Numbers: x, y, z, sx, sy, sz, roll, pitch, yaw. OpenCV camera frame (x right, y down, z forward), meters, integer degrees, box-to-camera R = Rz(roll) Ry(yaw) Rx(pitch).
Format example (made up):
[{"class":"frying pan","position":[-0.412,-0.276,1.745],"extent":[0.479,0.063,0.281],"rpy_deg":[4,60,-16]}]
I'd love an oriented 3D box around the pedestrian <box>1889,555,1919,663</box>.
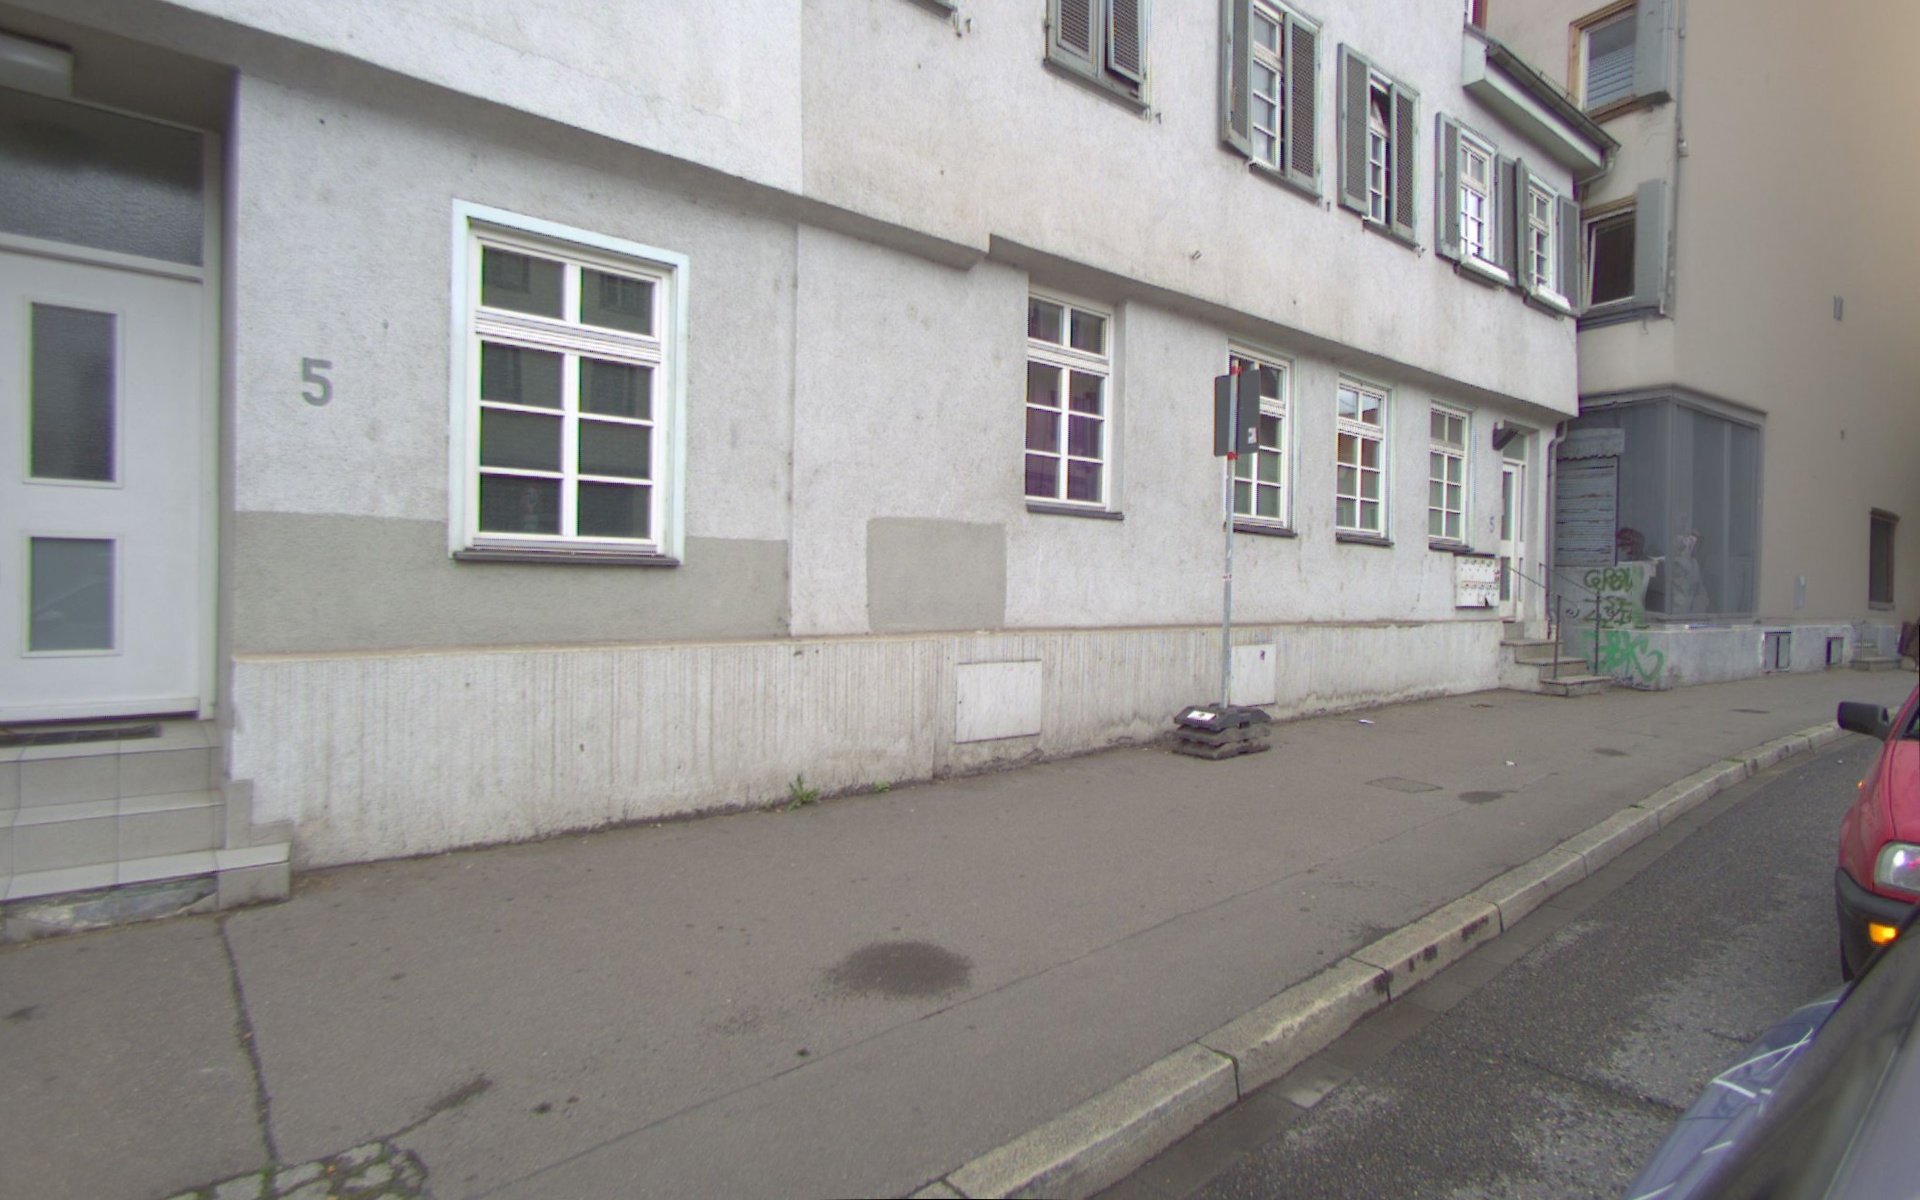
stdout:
[{"class":"pedestrian","position":[15.497,0.153,16.085],"extent":[0.793,1.687,0.759],"rpy_deg":[1,3,-29]}]

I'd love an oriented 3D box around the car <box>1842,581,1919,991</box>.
[{"class":"car","position":[5.289,0.678,4.403],"extent":[3.951,1.445,1.684],"rpy_deg":[0,1,-41]}]
